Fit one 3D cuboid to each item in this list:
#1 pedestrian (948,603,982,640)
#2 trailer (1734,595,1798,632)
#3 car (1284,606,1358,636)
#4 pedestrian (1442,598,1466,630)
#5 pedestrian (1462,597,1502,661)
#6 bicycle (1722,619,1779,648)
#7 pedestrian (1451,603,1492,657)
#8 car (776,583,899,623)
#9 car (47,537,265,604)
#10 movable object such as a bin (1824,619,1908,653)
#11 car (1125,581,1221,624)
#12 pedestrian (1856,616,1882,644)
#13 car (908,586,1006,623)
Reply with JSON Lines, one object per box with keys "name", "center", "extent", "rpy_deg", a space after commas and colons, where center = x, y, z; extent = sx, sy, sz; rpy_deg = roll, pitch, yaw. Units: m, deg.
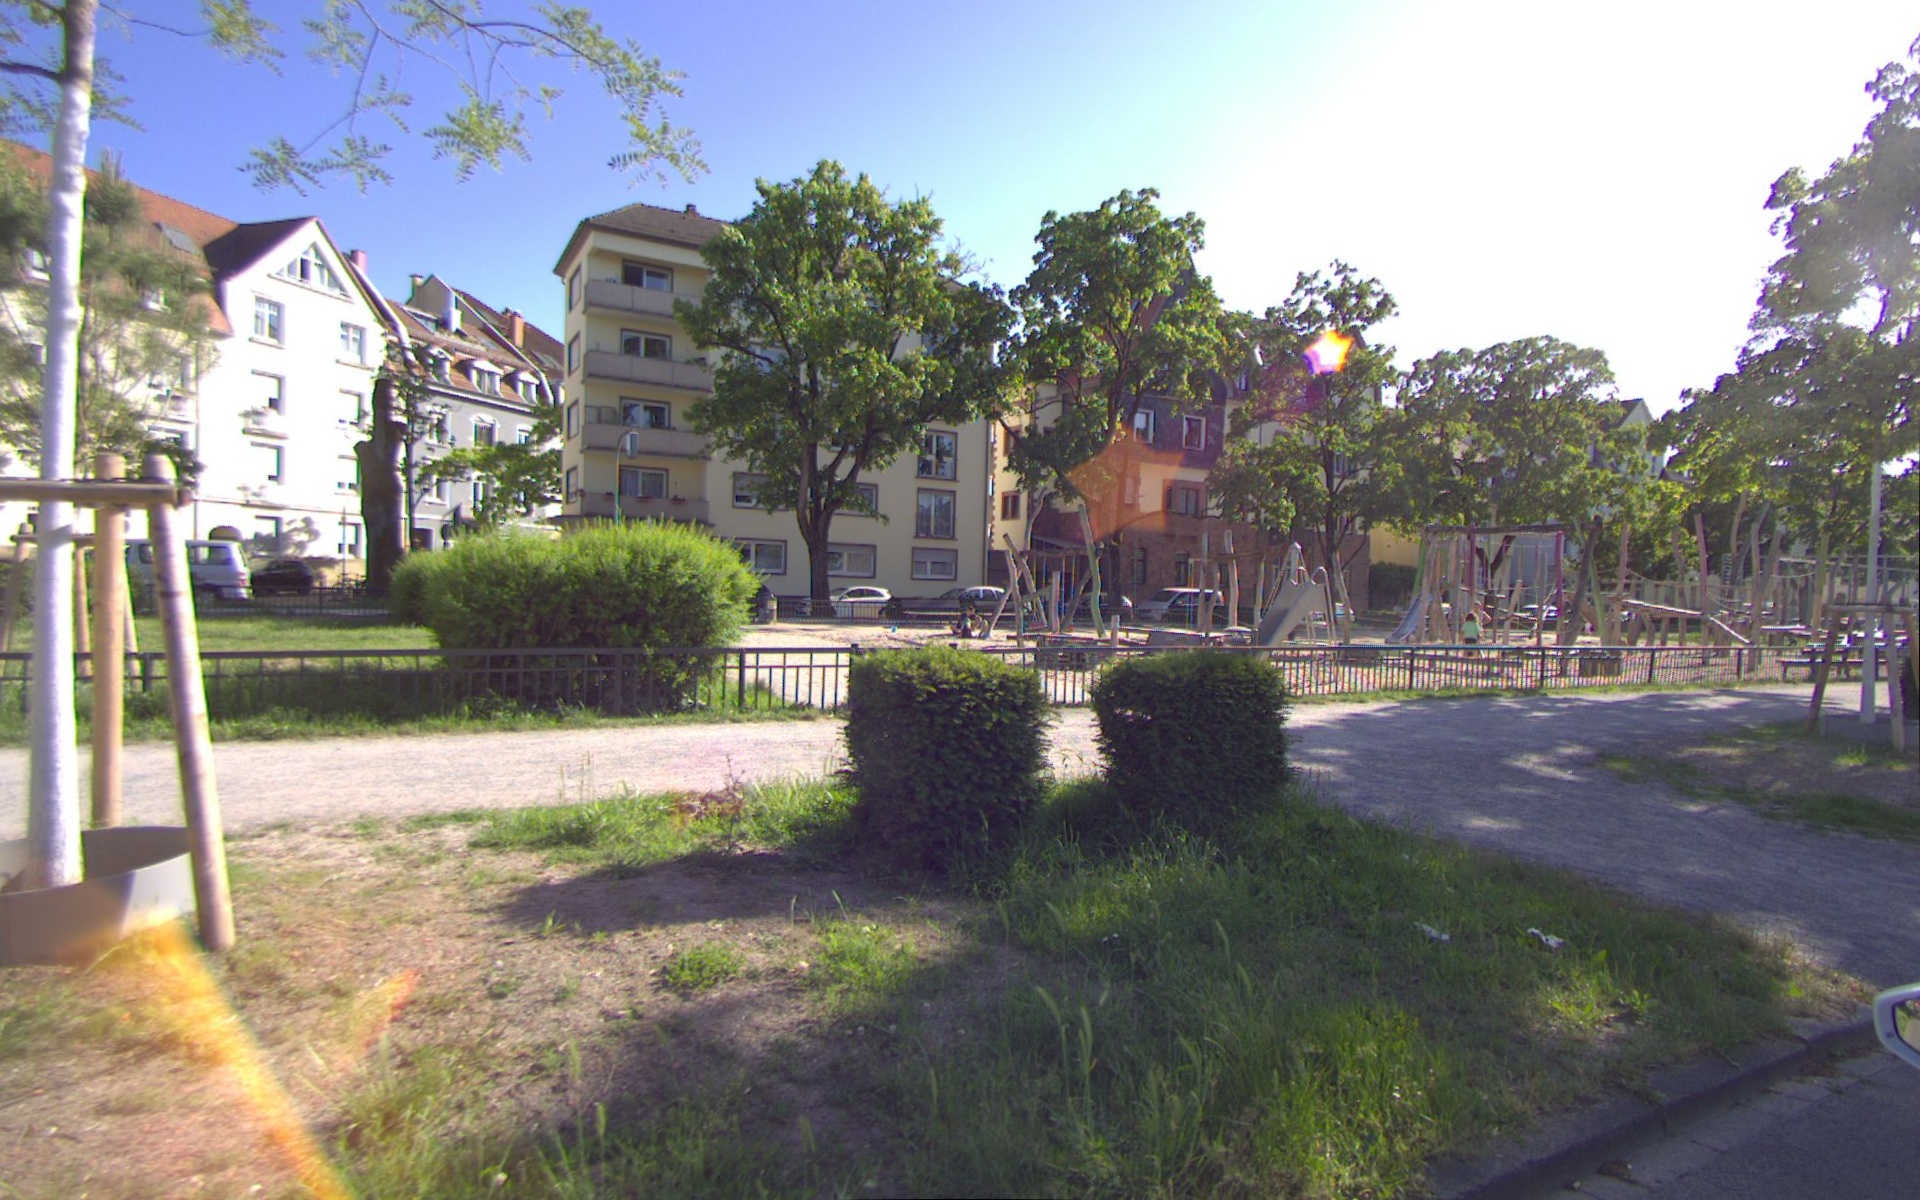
{"name": "pedestrian", "center": [0.138, 0.583, 27.317], "extent": [0.767, 0.992, 0.540], "rpy_deg": [1, 1, -22]}
{"name": "trailer", "center": [68.749, 1.166, 85.680], "extent": [5.735, 2.909, 2.331], "rpy_deg": [1, 2, -31]}
{"name": "car", "center": [20.545, 1.206, 57.154], "extent": [3.952, 1.530, 1.786], "rpy_deg": [1, 2, -30]}
{"name": "pedestrian", "center": [21.030, 0.589, 42.794], "extent": [0.643, 1.336, 0.644], "rpy_deg": [1, 2, -33]}
{"name": "pedestrian", "center": [14.147, 0.773, 27.231], "extent": [0.639, 1.683, 0.648], "rpy_deg": [2, 1, -12]}
{"name": "bicycle", "center": [33.274, 1.398, 42.301], "extent": [0.494, 1.122, 1.785], "rpy_deg": [1, 2, -31]}
{"name": "pedestrian", "center": [13.215, 0.770, 25.962], "extent": [0.639, 1.347, 0.648], "rpy_deg": [2, 1, -12]}
{"name": "car", "center": [-5.064, 0.131, 41.718], "extent": [4.710, 1.530, 1.896], "rpy_deg": [1, 2, -31]}
{"name": "car", "center": [-22.437, -0.808, 28.291], "extent": [4.532, 1.657, 1.786], "rpy_deg": [1, 2, -30]}
{"name": "movable object such as a bin", "center": [36.273, 1.421, 40.248], "extent": [1.045, 1.258, 2.316], "rpy_deg": [1, 1, -33]}
{"name": "car", "center": [10.846, 0.119, 51.034], "extent": [4.778, 2.009, 1.786], "rpy_deg": [1, 2, -30]}
{"name": "pedestrian", "center": [45.507, 1.486, 50.302], "extent": [0.637, 1.336, 0.650], "rpy_deg": [2, 1, 0]}
{"name": "car", "center": [-0.125, 0.206, 44.849], "extent": [3.952, 1.530, 1.786], "rpy_deg": [1, 2, -30]}
